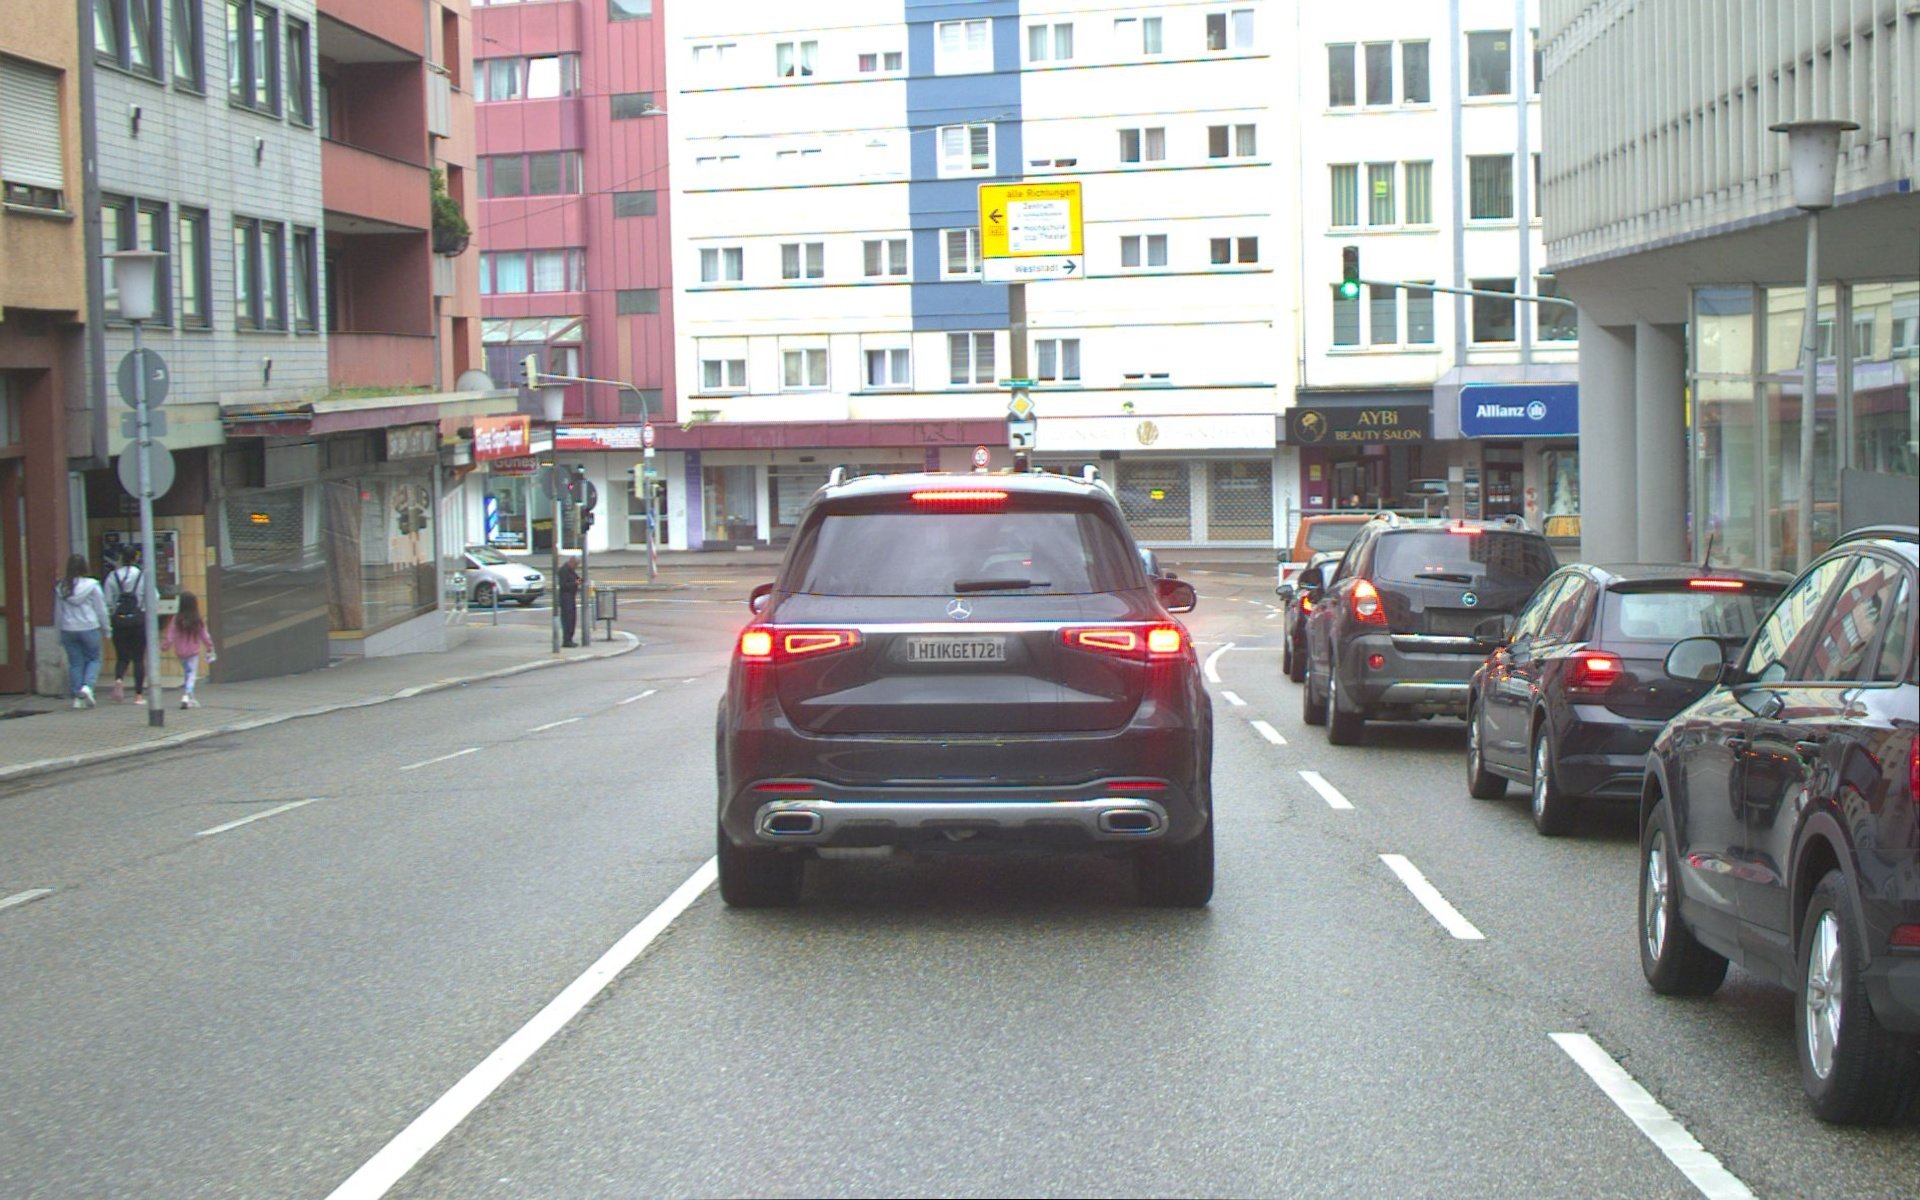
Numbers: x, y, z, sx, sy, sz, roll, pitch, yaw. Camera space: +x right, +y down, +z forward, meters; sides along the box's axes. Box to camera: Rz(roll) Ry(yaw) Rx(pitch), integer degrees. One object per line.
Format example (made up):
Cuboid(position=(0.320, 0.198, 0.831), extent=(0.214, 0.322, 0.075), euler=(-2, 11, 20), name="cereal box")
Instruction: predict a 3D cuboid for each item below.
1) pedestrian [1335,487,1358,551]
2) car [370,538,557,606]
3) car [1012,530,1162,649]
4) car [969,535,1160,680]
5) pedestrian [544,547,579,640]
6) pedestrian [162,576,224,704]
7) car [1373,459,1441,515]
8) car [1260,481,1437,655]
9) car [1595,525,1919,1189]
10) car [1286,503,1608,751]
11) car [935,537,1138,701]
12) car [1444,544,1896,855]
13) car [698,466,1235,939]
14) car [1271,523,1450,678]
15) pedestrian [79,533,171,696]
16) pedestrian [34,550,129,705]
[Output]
Cuboid(position=(10.647, -2.227, 94.719), extent=(0.564, 1.683, 0.755), euler=(-1, 7, 9), name="pedestrian")
Cuboid(position=(-12.128, -0.694, 84.001), extent=(4.165, 1.587, 1.739), euler=(1, 2, 18), name="car")
Cuboid(position=(1.754, -0.131, 47.217), extent=(1.925, 1.510, 4.662), euler=(1, 0, 2), name="car")
Cuboid(position=(1.206, 0.041, 38.711), extent=(1.994, 1.481, 4.237), euler=(-2, 1, 3), name="car")
Cuboid(position=(-7.332, -0.128, 63.253), extent=(0.554, 1.691, 0.624), euler=(-1, 1, -1), name="pedestrian")
Cuboid(position=(-8.090, 0.412, 36.274), extent=(0.533, 1.318, 0.724), euler=(1, 1, -6), name="pedestrian")
Cuboid(position=(13.948, -3.507, 107.122), extent=(1.798, 1.664, 3.998), euler=(-1, 1, 11), name="car")
Cuboid(position=(5.299, -0.453, 46.938), extent=(2.243, 2.220, 5.427), euler=(0, 1, 6), name="car")
Cuboid(position=(3.132, 0.597, 10.119), extent=(1.823, 1.554, 4.201), euler=(2, 1, 2), name="car")
Cuboid(position=(3.652, 0.144, 26.540), extent=(1.897, 1.689, 4.505), euler=(2, 1, 2), name="car")
Cuboid(position=(0.746, 0.137, 33.997), extent=(1.873, 1.489, 4.400), euler=(0, 1, 1), name="car")
Cuboid(position=(3.816, 0.462, 19.124), extent=(1.688, 1.472, 4.000), euler=(2, 1, 1), name="car")
Cuboid(position=(0.062, 0.341, 15.424), extent=(2.039, 1.793, 4.663), euler=(0, 1, 1), name="car")
Cuboid(position=(4.504, -0.009, 39.205), extent=(1.823, 1.653, 4.495), euler=(1, 0, 4), name="car")
Cuboid(position=(-8.801, 0.145, 36.246), extent=(0.827, 1.684, 0.724), euler=(1, 1, -6), name="pedestrian")
Cuboid(position=(-8.948, 0.274, 35.044), extent=(0.827, 1.555, 0.724), euler=(1, 1, -6), name="pedestrian")
